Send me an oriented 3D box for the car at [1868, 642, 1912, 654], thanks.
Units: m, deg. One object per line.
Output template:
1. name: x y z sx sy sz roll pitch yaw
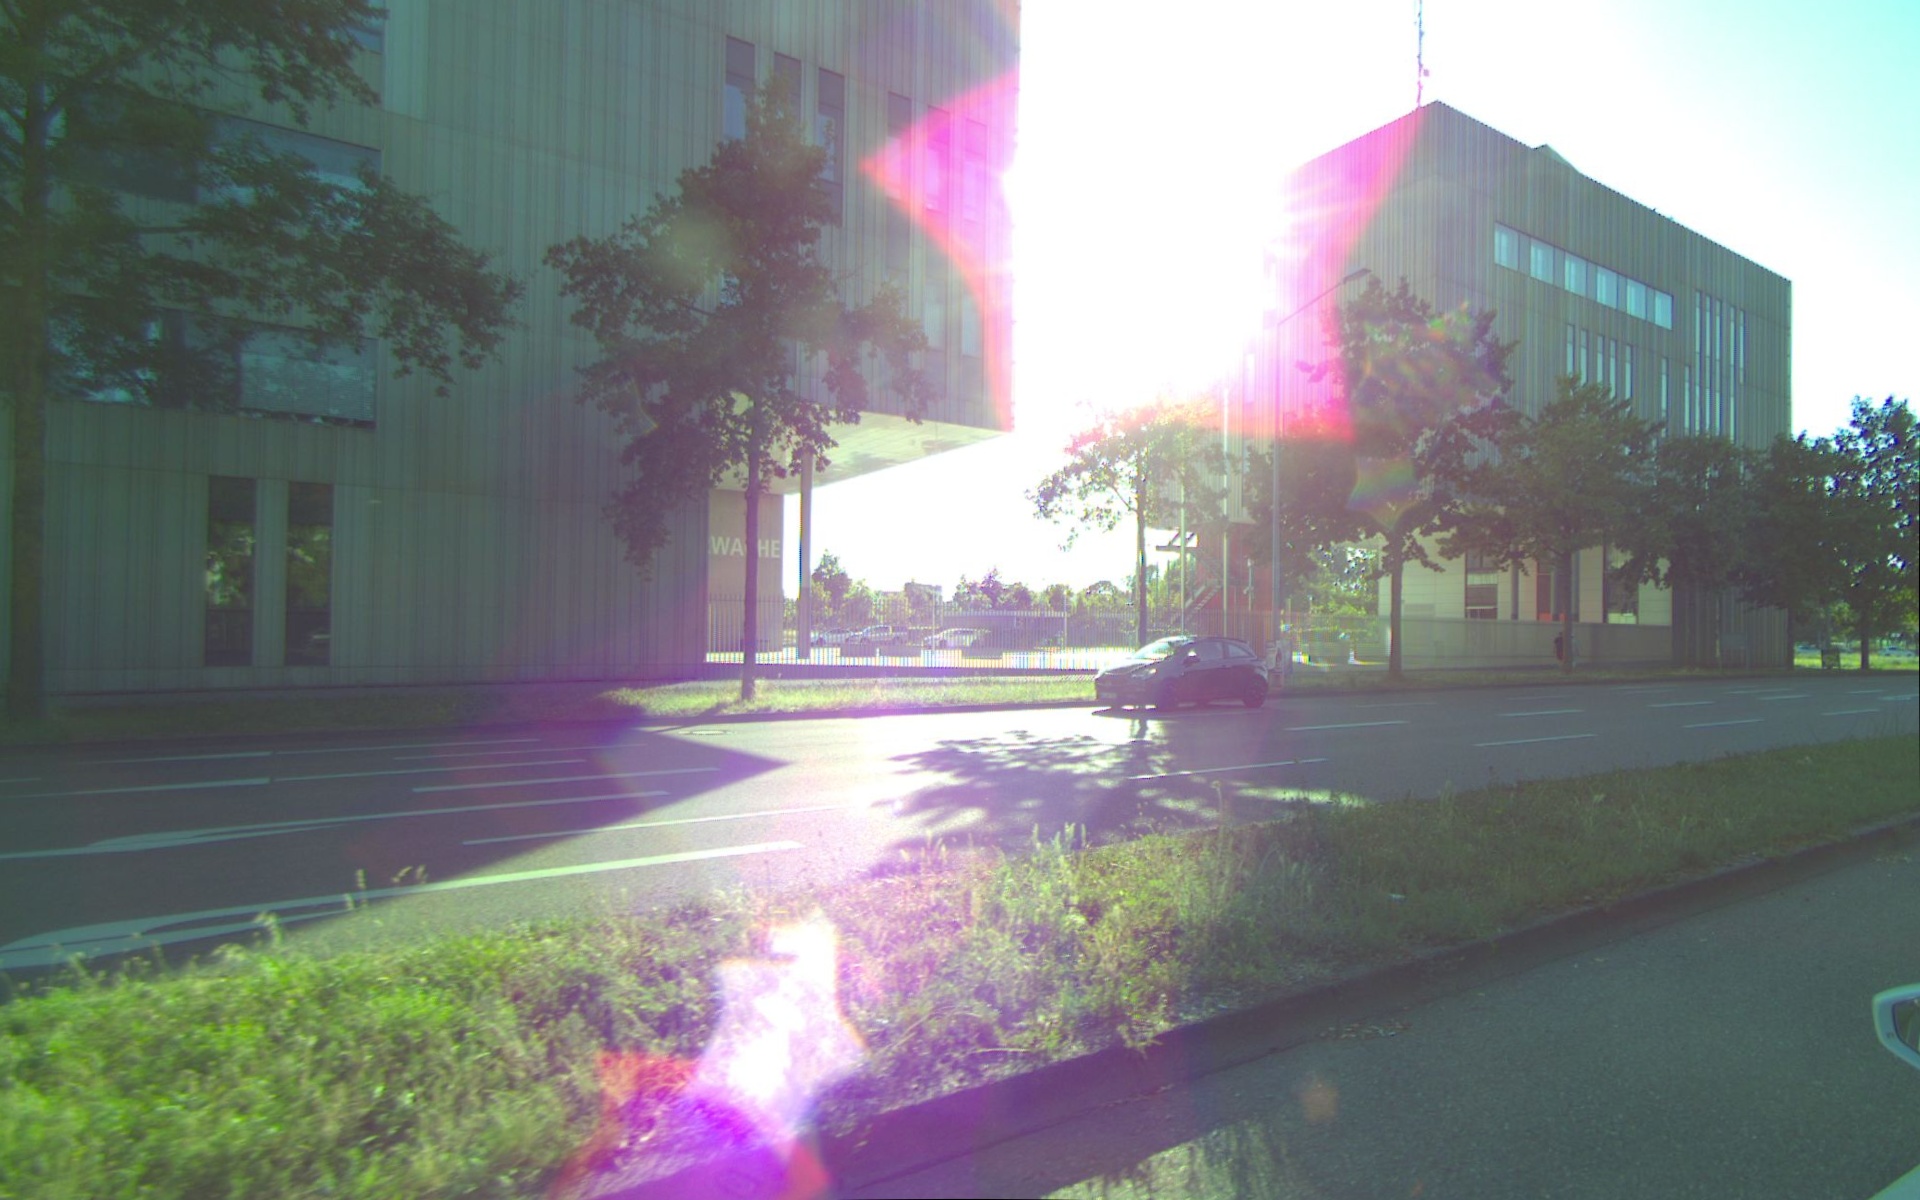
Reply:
1. car: 120.068 6.221 129.699 3.634 1.528 1.876 0 -2 16

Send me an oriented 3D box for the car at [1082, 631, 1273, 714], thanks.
1. car: 4.472 1.418 20.477 3.826 1.532 1.586 1 -1 -33

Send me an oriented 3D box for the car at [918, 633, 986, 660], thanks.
1. car: -0.587 3.419 73.849 4.736 1.899 1.894 2 -2 -34

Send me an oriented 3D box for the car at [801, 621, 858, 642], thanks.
1. car: -11.703 2.830 90.366 4.736 1.843 1.894 1 -1 -34

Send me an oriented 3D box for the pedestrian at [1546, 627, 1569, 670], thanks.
1. pedestrian: 26.402 2.147 44.379 0.708 1.865 0.629 1 -1 -31

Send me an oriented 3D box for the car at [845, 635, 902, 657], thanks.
1. car: -7.228 3.807 84.181 4.460 1.773 1.894 2 -2 -34
